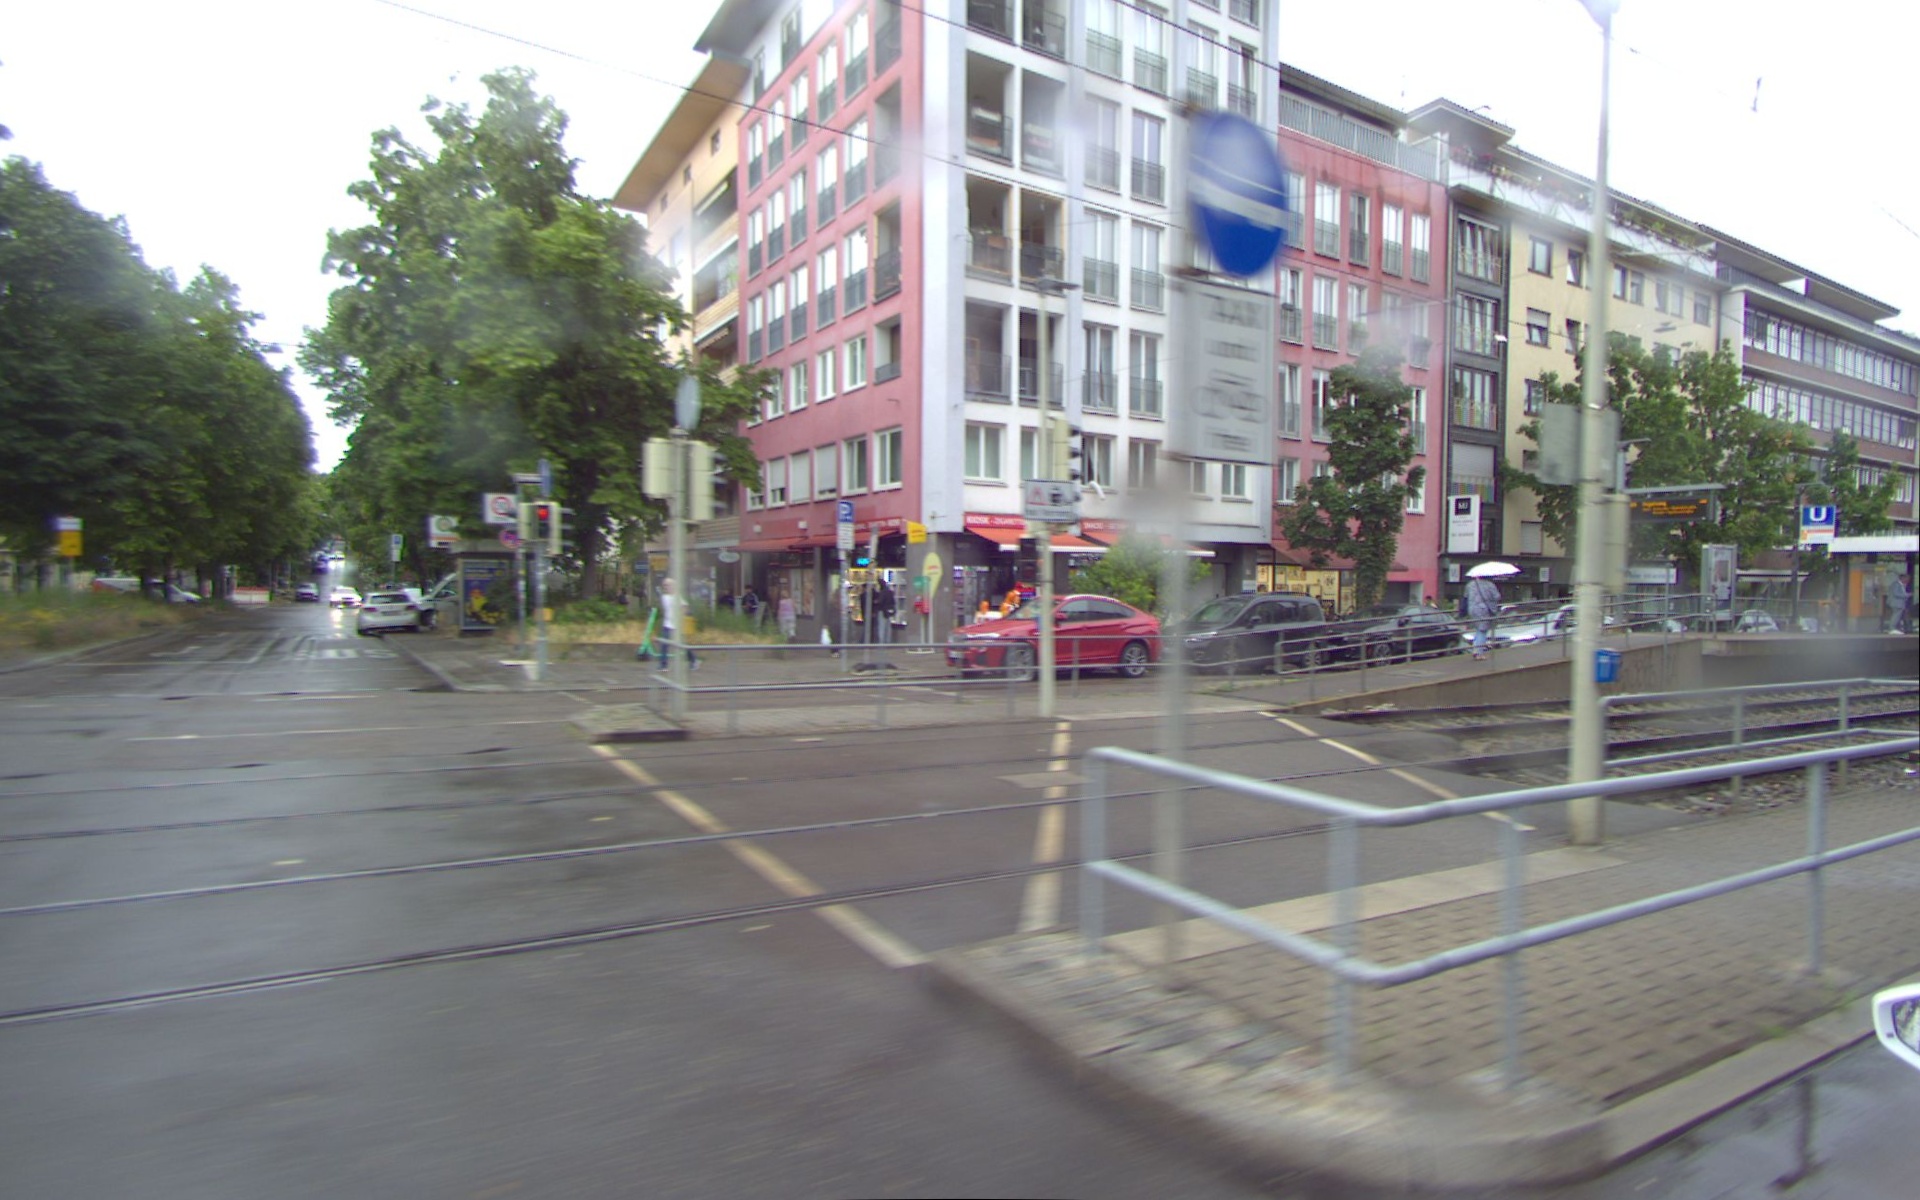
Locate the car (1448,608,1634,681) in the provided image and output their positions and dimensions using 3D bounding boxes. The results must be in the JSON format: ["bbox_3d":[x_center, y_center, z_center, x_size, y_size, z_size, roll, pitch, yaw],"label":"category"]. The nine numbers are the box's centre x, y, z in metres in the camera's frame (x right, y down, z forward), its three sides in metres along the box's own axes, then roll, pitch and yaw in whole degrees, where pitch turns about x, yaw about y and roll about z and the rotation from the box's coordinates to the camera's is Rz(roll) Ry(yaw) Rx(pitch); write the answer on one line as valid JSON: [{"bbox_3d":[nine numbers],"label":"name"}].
[{"bbox_3d":[14.234,1.046,24.511,4.964,1.599,1.797,1,0,-32],"label":"car"}]

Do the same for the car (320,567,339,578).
[{"bbox_3d":[-86.758,-3.817,138.233,1.976,1.392,3.968,2,2,-30],"label":"car"}]

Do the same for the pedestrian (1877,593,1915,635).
[{"bbox_3d":[29.057,0.440,31.173,0.875,1.266,0.688,1,0,-34],"label":"pedestrian"}]

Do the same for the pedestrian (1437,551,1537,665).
[{"bbox_3d":[9.864,0.164,18.818,1.368,2.040,1.110,2,-1,-32],"label":"pedestrian"}]

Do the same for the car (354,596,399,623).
[{"bbox_3d":[-32.918,0.518,56.739,2.074,1.392,4.412,2,-1,-30],"label":"car"}]

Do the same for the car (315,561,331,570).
[{"bbox_3d":[-105.932,-5.745,167.031,1.976,1.392,3.968,2,2,-30],"label":"car"}]

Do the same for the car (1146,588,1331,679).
[{"bbox_3d":[6.362,0.737,22.783,4.277,1.883,1.696,1,0,-35],"label":"car"}]

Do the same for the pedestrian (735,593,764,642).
[{"bbox_3d":[-6.302,0.534,30.097,0.644,1.424,0.556,2,1,-34],"label":"pedestrian"}]

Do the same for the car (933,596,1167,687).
[{"bbox_3d":[1.839,0.763,19.945,4.500,1.633,1.717,1,0,-31],"label":"car"}]

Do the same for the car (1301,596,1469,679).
[{"bbox_3d":[10.543,0.893,24.825,4.336,1.883,1.791,1,0,-35],"label":"car"}]

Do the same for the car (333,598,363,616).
[{"bbox_3d":[-50.827,0.581,83.456,1.976,1.392,3.968,2,-1,-30],"label":"car"}]

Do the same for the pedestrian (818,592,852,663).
[{"bbox_3d":[-3.018,0.652,24.256,0.792,1.654,0.881,-1,1,-8],"label":"pedestrian"}]

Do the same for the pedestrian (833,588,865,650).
[{"bbox_3d":[-3.037,0.506,27.441,0.570,1.653,0.610,3,1,32],"label":"pedestrian"}]

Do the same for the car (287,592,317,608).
[{"bbox_3d":[-60.420,0.031,92.244,1.976,1.392,3.968,2,-1,-30],"label":"car"}]

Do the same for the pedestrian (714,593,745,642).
[{"bbox_3d":[-6.819,0.520,29.741,0.651,1.402,0.686,2,1,-34],"label":"pedestrian"}]

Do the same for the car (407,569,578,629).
[{"bbox_3d":[-21.704,-0.002,46.802,7.017,2.568,2.403,2,-1,-31],"label":"car"}]

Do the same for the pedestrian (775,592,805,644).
[{"bbox_3d":[-5.044,0.533,29.774,0.649,1.481,0.635,2,1,-34],"label":"pedestrian"}]

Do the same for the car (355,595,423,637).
[{"bbox_3d":[-20.261,0.554,35.706,1.976,1.392,3.968,2,-1,-30],"label":"car"}]

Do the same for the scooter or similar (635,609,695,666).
[{"bbox_3d":[-6.488,0.828,22.102,1.198,1.207,0.387,2,-1,-31],"label":"scooter or similar"}]

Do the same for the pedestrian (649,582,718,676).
[{"bbox_3d":[-5.268,0.544,19.117,0.978,1.720,0.812,1,1,-40],"label":"pedestrian"}]

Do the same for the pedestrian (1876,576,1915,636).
[{"bbox_3d":[27.583,0.181,29.609,0.841,1.734,0.651,1,0,-34],"label":"pedestrian"}]

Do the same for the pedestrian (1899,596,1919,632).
[{"bbox_3d":[31.055,0.464,32.519,0.844,1.138,0.884,1,0,-43],"label":"pedestrian"}]

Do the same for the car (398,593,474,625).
[{"bbox_3d":[-35.105,0.608,67.318,4.396,2.056,2.081,2,-1,-31],"label":"car"}]

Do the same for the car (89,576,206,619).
[{"bbox_3d":[-44.552,-0.099,55.244,4.813,2.239,1.890,2,0,-34],"label":"car"}]

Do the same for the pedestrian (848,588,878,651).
[{"bbox_3d":[-2.585,0.523,26.882,0.535,1.653,0.574,3,1,22],"label":"pedestrian"}]
